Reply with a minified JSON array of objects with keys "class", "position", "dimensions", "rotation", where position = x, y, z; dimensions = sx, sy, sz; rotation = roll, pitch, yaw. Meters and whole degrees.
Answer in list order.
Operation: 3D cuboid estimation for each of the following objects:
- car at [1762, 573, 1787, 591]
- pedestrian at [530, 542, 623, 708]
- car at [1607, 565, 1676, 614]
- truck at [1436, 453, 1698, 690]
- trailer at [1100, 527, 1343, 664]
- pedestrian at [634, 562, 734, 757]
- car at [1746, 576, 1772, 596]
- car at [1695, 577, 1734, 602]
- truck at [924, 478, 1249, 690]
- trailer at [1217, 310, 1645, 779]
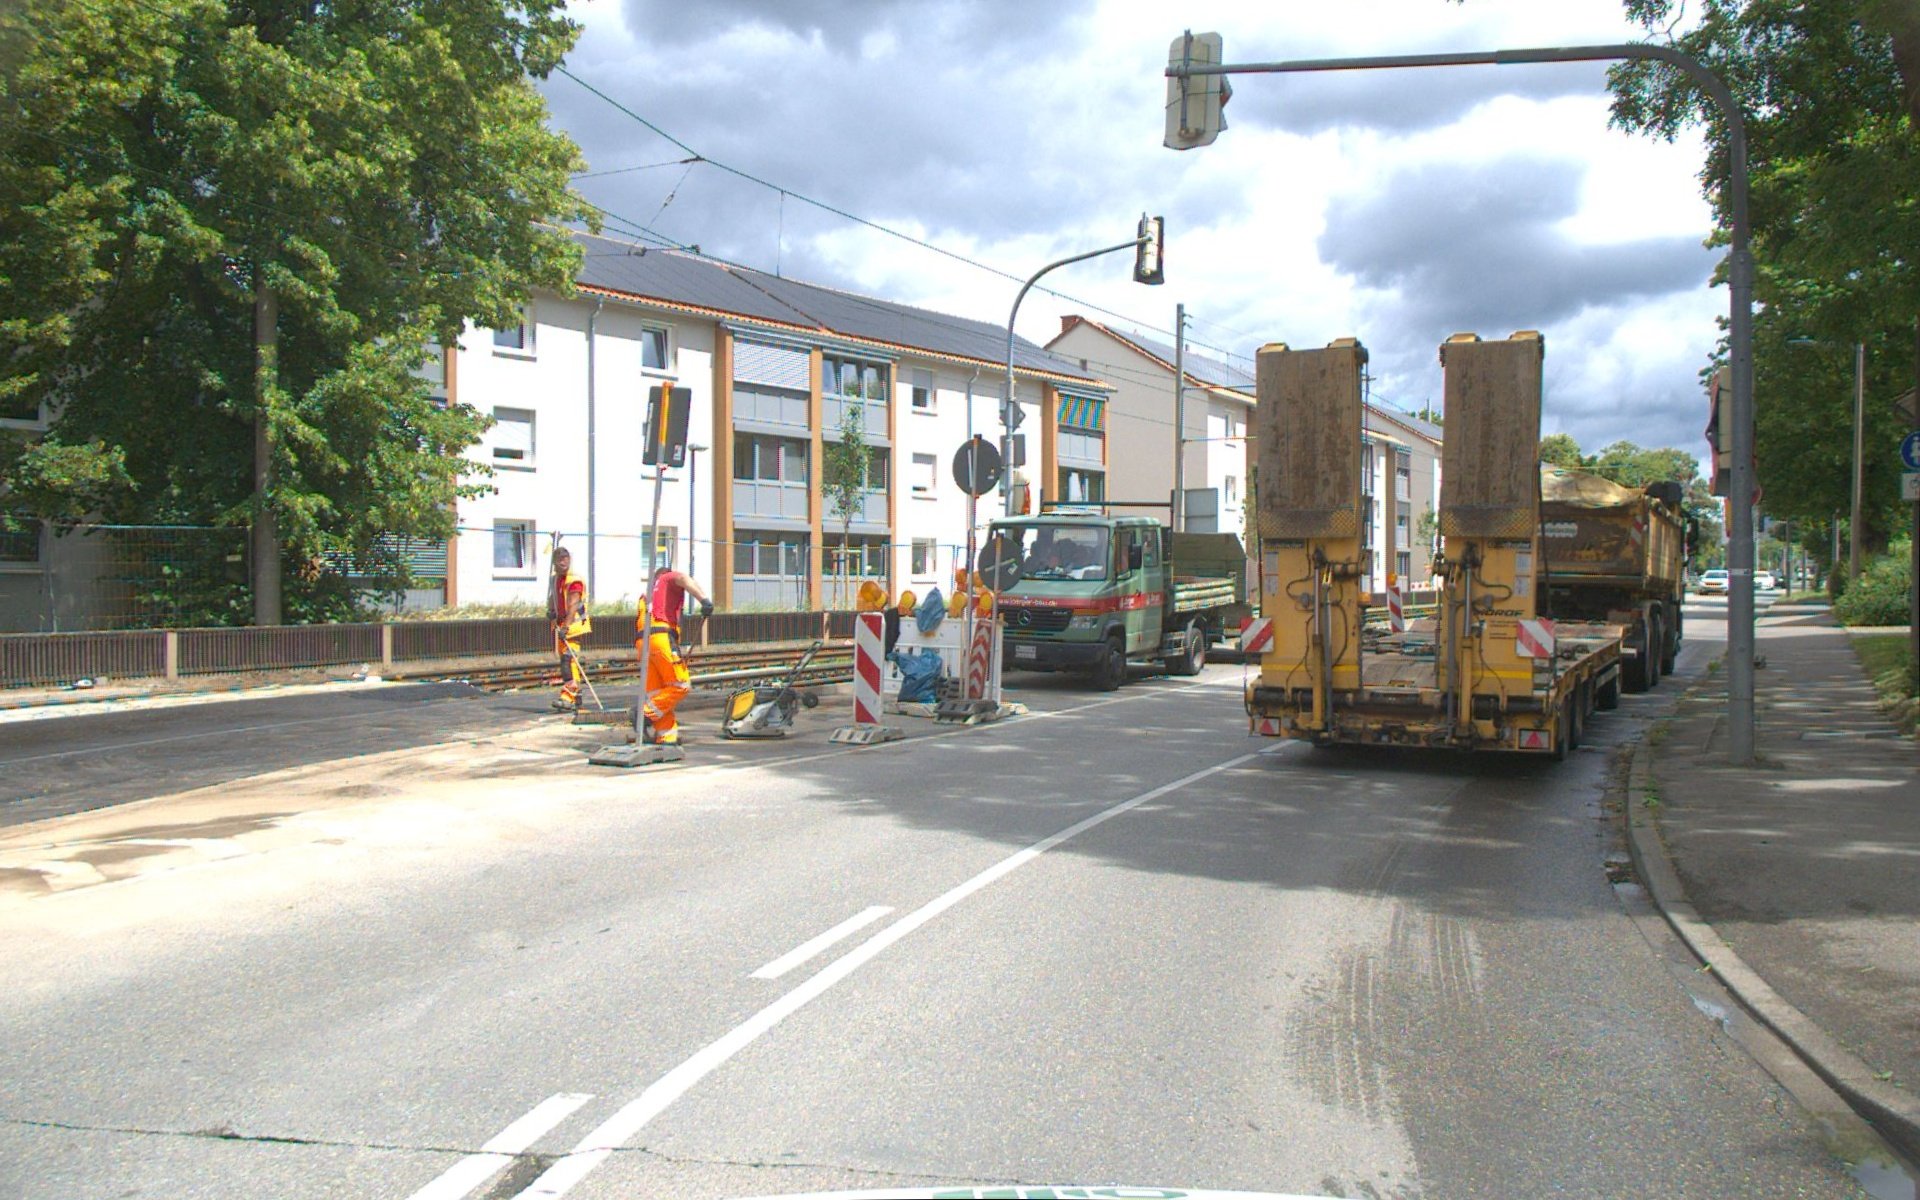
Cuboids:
[{"class":"car","position":[71.419,-1.613,145.000],"dimensions":[1.649,1.475,4.065],"rotation":[-1,1,31]},{"class":"pedestrian","position":[-4.018,0.266,17.391],"dimensions":[0.689,1.697,0.828],"rotation":[0,-2,6]},{"class":"car","position":[23.777,-0.359,57.635],"dimensions":[1.807,1.646,4.236],"rotation":[-1,0,28]},{"class":"truck","position":[9.974,-0.491,26.584],"dimensions":[2.862,3.222,7.669],"rotation":[2,2,28]},{"class":"trailer","position":[5.004,-0.152,30.651],"dimensions":[2.611,2.252,6.240],"rotation":[1,1,27]},{"class":"pedestrian","position":[-2.336,0.476,13.930],"dimensions":[0.749,1.578,0.898],"rotation":[1,1,-14]},{"class":"car","position":[64.055,-1.119,132.591],"dimensions":[1.619,1.547,3.859],"rotation":[1,2,29]},{"class":"car","position":[48.189,-0.697,105.587],"dimensions":[1.844,1.507,4.520],"rotation":[-1,0,30]},{"class":"truck","position":[2.131,-0.286,25.033],"dimensions":[2.611,2.772,6.388],"rotation":[1,1,27]},{"class":"trailer","position":[5.761,-0.456,18.233],"dimensions":[2.767,3.585,11.043],"rotation":[0,0,25]}]
